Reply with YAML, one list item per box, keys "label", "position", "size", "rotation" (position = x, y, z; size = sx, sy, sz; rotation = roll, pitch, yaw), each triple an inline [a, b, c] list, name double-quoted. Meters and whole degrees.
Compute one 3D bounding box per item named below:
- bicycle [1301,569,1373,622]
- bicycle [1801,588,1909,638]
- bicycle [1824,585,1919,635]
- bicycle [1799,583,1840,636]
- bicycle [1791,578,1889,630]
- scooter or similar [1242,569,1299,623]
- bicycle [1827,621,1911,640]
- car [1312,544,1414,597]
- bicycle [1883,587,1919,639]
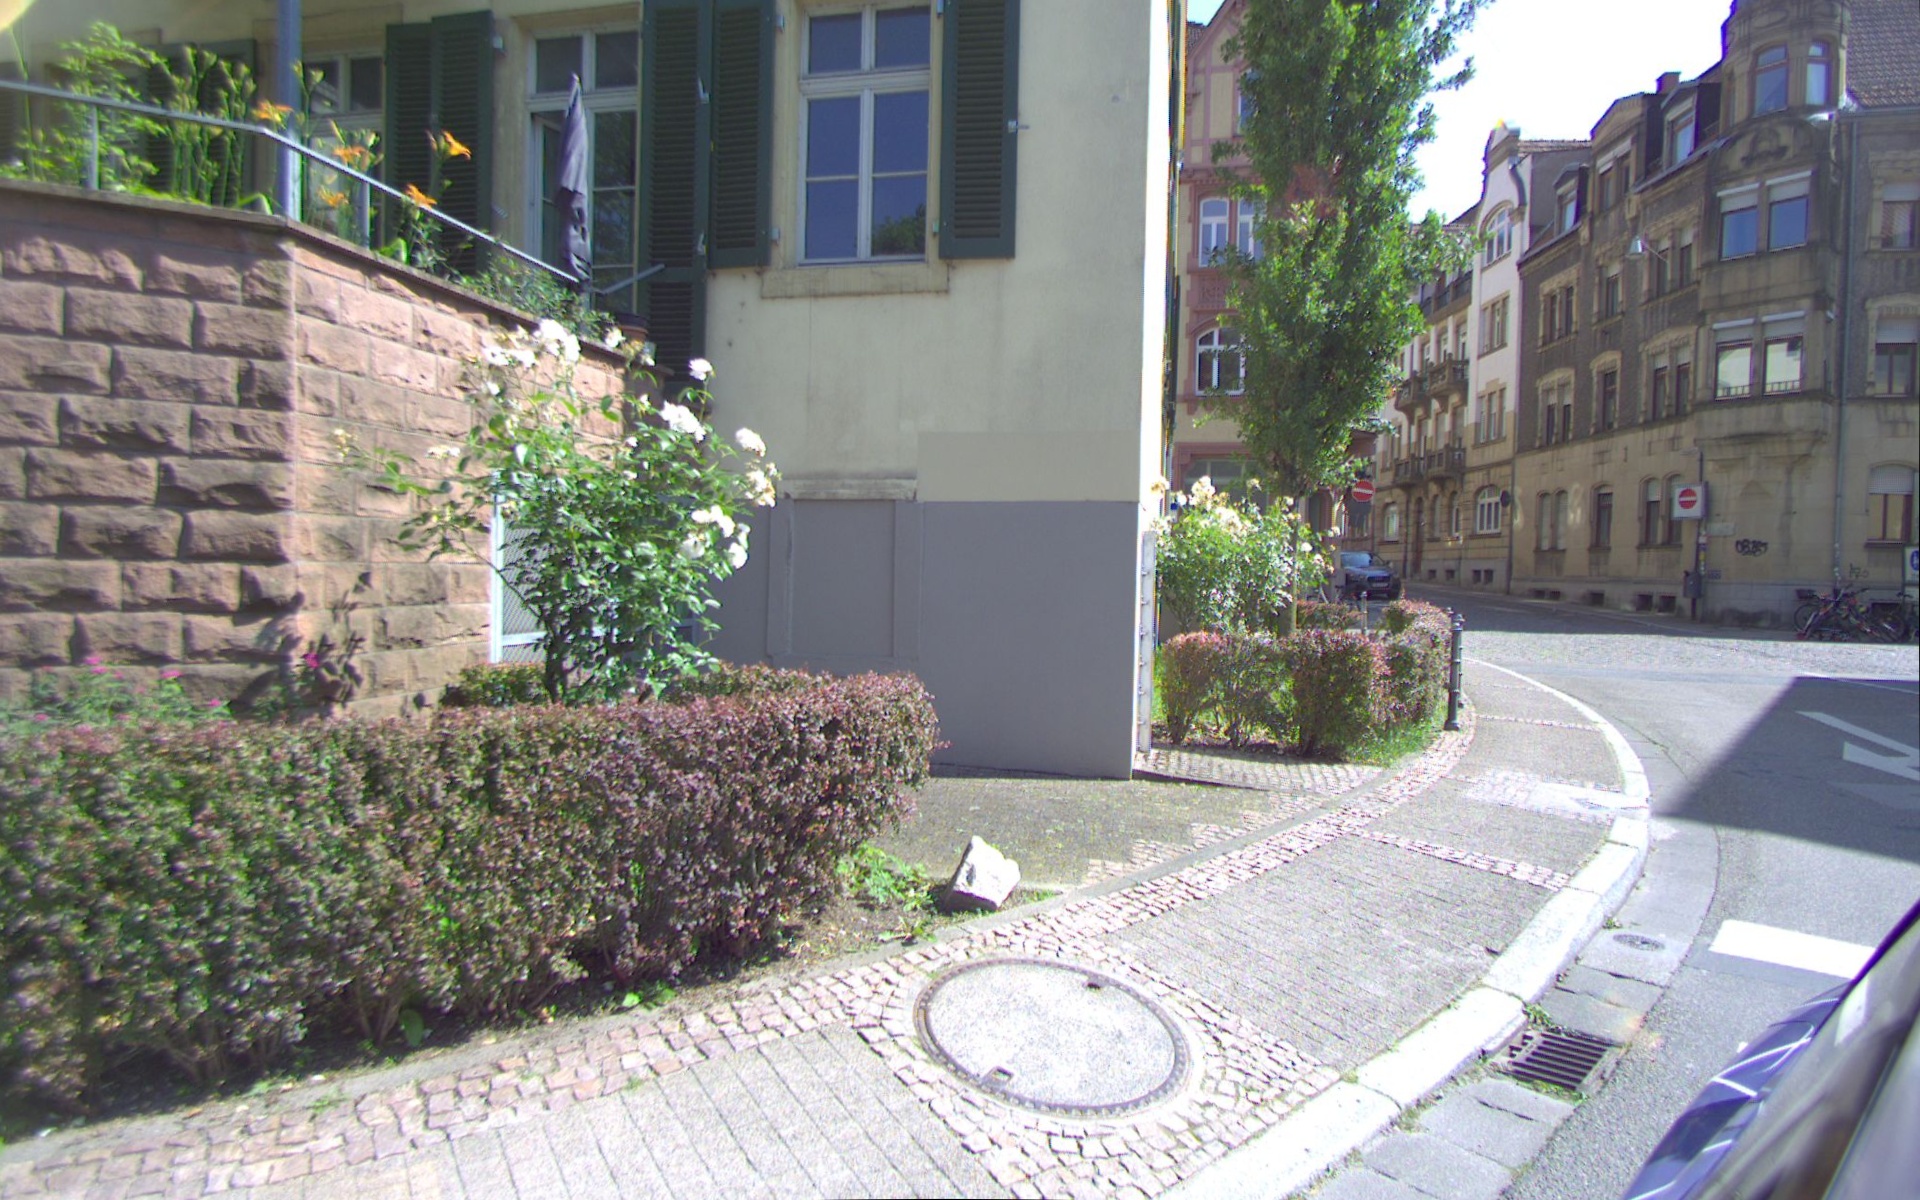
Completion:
- label: "bicycle"
  position: [9.041, -0.125, 24.349]
  size: [0.495, 1.160, 1.798]
  rotation: [1, 3, -23]
- label: "bicycle"
  position: [19.496, 0.263, 22.095]
  size: [0.285, 1.080, 1.642]
  rotation: [-42, 1, 3]
- label: "bicycle"
  position: [19.984, 0.203, 22.059]
  size: [0.285, 1.080, 1.642]
  rotation: [-42, 1, 3]
- label: "bicycle"
  position: [18.881, 0.193, 22.254]
  size: [0.283, 1.099, 1.628]
  rotation: [-2, 1, 26]
- label: "bicycle"
  position: [20.662, 0.080, 23.786]
  size: [1.617, 1.098, 0.495]
  rotation: [2, 6, 13]
- label: "scooter or similar"
  position: [7.330, -0.102, 23.926]
  size: [1.168, 1.250, 0.442]
  rotation: [1, 2, -1]
- label: "bicycle"
  position: [19.469, 0.653, 21.708]
  size: [1.068, 0.291, 1.114]
  rotation: [2, 3, 27]
- label: "car"
  position: [13.584, -1.061, 34.376]
  size: [1.828, 1.601, 4.261]
  rotation: [-1, 4, 2]
- label: "bicycle"
  position: [20.434, 0.278, 21.245]
  size: [0.280, 1.099, 1.646]
  rotation: [3, -1, -15]
